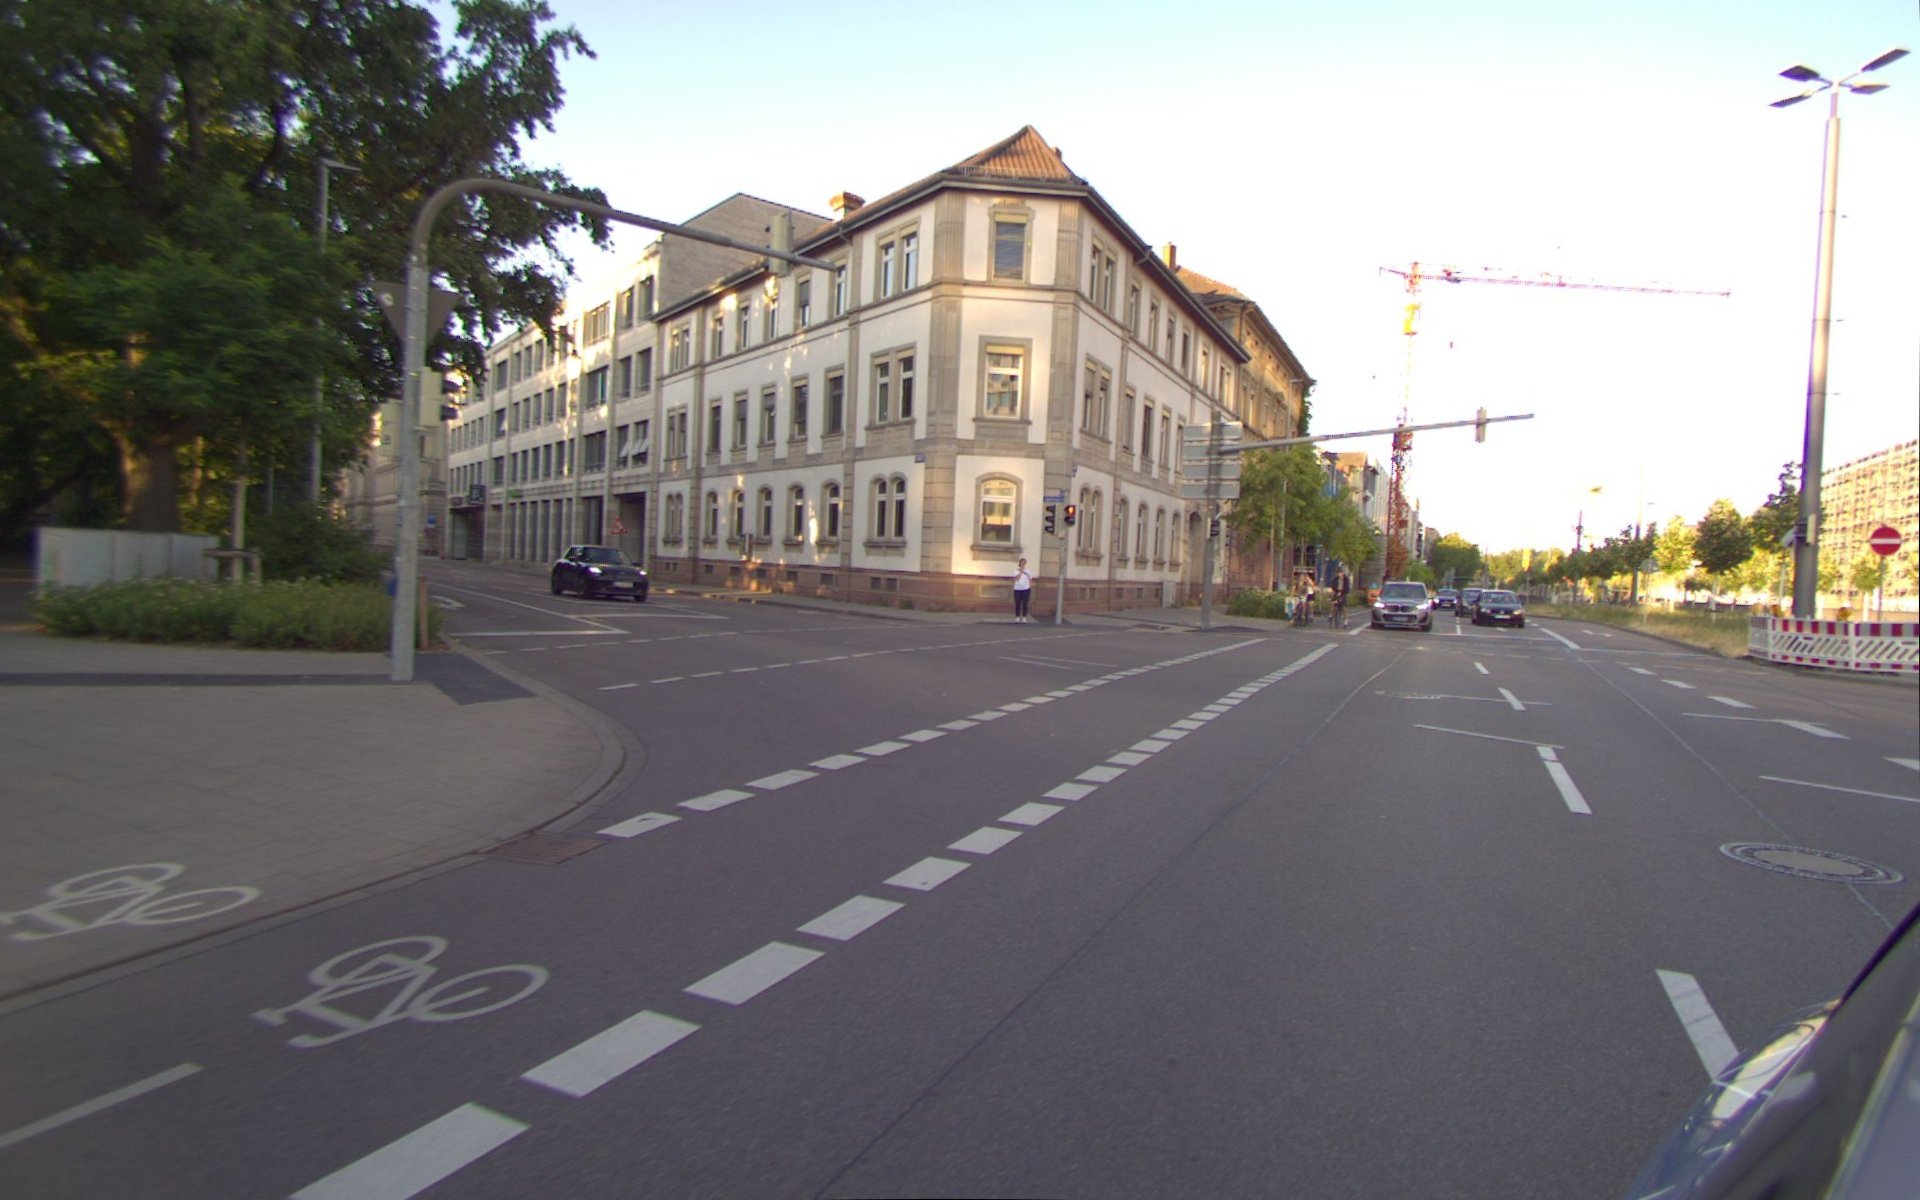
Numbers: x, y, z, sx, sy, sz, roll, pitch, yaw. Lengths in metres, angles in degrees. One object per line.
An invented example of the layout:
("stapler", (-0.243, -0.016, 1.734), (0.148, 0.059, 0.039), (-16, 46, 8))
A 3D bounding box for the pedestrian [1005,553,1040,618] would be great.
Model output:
("pedestrian", (1.672, -0.393, 26.888), (0.805, 1.677, 0.635), (3, 2, 8))

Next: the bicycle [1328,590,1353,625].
("bicycle", (12.490, 0.227, 33.153), (0.713, 1.064, 2.029), (1, 2, 22))

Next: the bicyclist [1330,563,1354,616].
("bicyclist", (12.530, -0.350, 33.221), (0.698, 1.722, 0.762), (1, 2, 23))

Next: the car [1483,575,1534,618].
("car", (22.491, -0.185, 41.574), (1.688, 1.617, 4.219), (3, 2, 28))

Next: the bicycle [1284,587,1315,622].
("bicycle", (11.368, 0.138, 33.847), (0.525, 1.063, 2.026), (7, 5, 30))

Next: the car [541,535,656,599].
("car", (-9.901, -0.928, 27.593), (1.797, 1.535, 3.573), (2, 2, -40))

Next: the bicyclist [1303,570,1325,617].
("bicyclist", (12.368, -0.234, 35.396), (0.508, 1.567, 0.685), (5, 2, 30))

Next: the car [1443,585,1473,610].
("car", (33.608, -0.203, 68.223), (1.688, 1.617, 3.852), (3, 2, 28))

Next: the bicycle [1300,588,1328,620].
("bicycle", (12.511, 0.119, 35.718), (0.513, 1.064, 2.023), (5, 3, 29))

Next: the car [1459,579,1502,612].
("car", (27.186, -0.264, 52.835), (1.846, 1.617, 4.219), (3, 2, 28))

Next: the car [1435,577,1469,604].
("car", (33.376, -0.669, 68.598), (1.864, 1.682, 3.725), (3, 2, 28))

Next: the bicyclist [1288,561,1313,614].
("bicyclist", (11.367, -0.422, 33.743), (0.506, 1.721, 0.760), (6, 5, 30))

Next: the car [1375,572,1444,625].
("car", (15.310, -0.076, 34.362), (1.818, 1.617, 4.219), (3, 2, 28))
